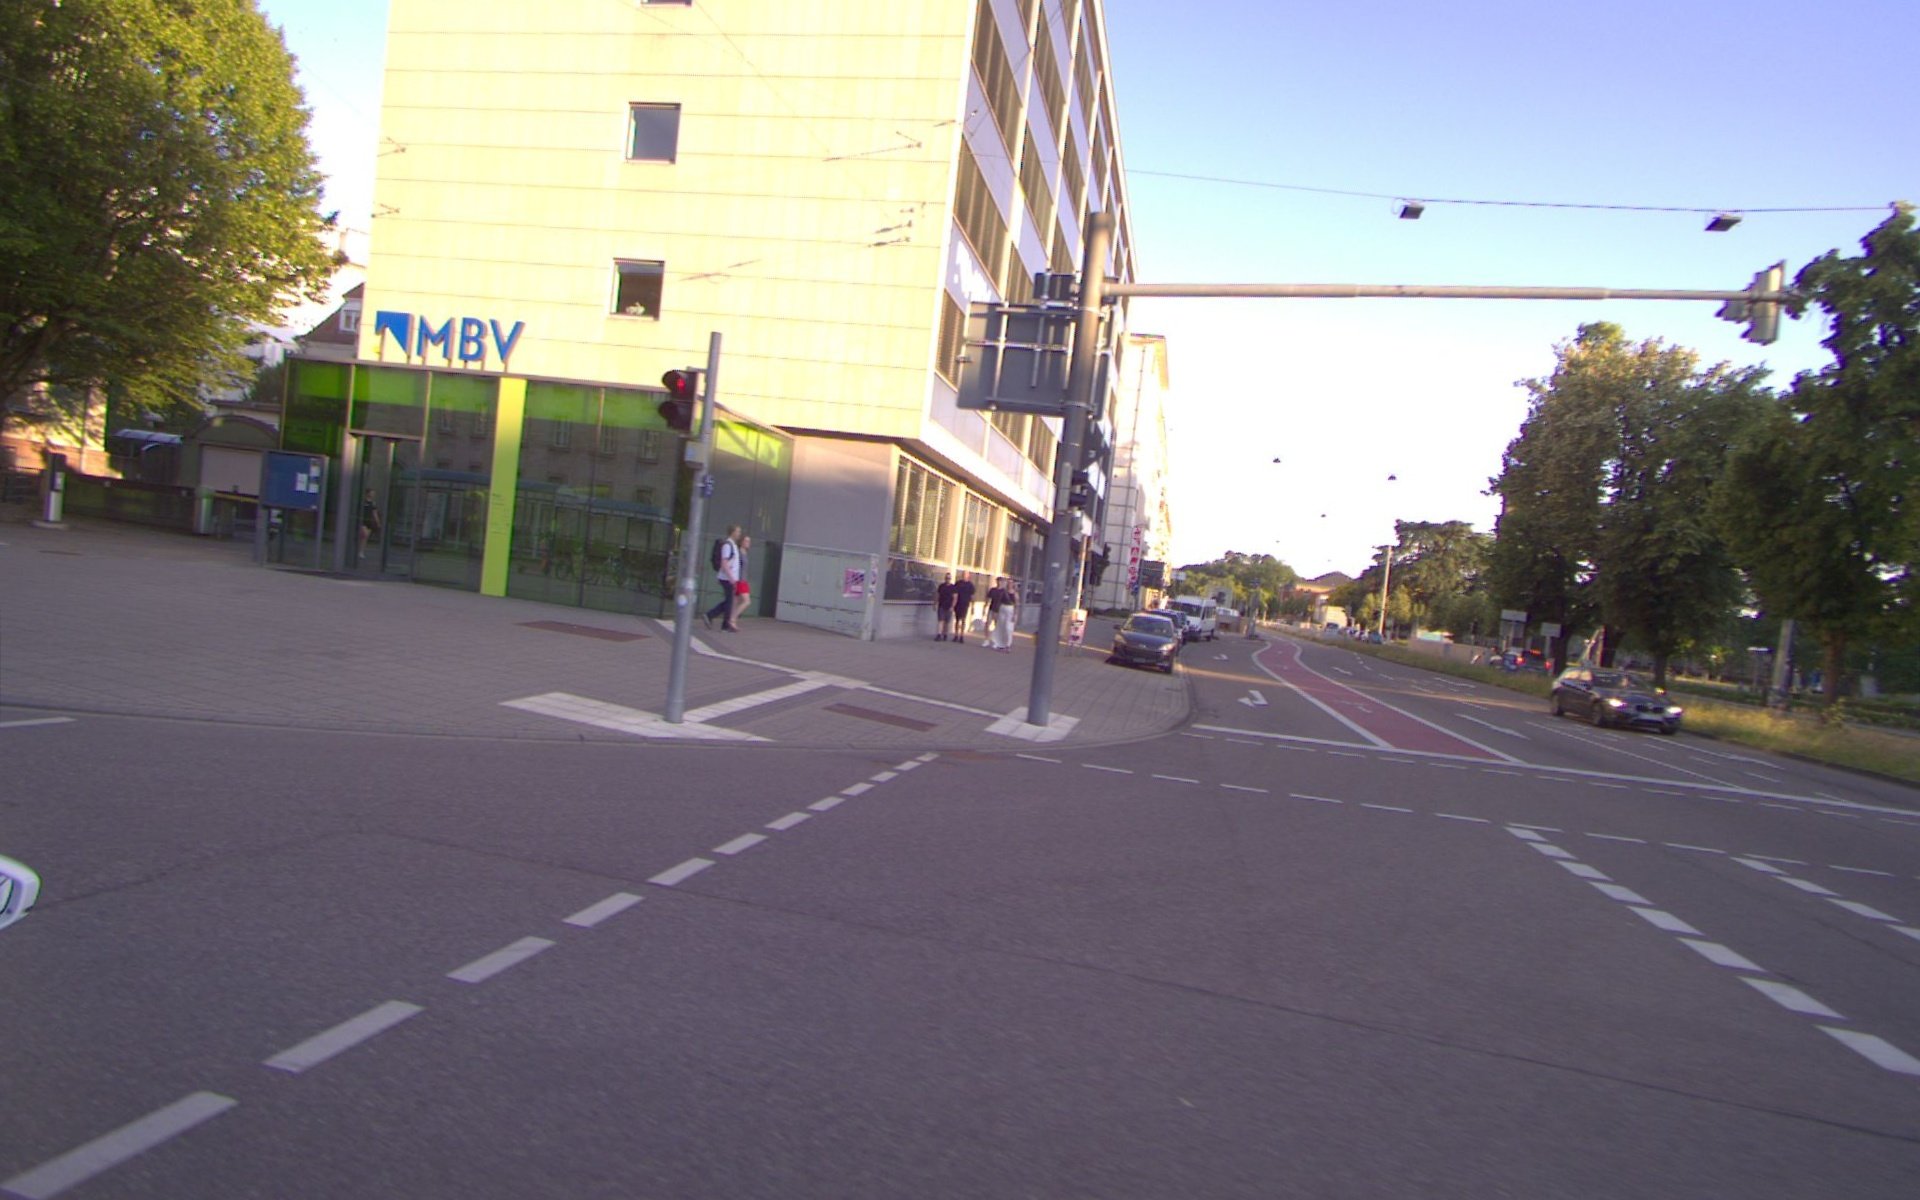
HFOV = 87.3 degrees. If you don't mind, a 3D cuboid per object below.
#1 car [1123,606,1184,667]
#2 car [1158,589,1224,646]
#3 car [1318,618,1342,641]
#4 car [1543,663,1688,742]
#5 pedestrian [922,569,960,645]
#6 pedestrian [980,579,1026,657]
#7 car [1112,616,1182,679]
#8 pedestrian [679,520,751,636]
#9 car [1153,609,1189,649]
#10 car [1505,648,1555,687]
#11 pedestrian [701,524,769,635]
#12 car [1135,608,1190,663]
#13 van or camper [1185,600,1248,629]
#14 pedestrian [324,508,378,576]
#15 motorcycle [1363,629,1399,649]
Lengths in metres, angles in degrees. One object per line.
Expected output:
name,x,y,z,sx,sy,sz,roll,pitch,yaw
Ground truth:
car,6.679,1.215,34.553,1.667,1.685,3.868,11,2,12
car,13.232,1.055,57.245,2.204,2.661,5.849,14,3,22
car,41.621,3.279,113.341,1.854,2.267,3.909,7,1,14
car,16.747,2.549,25.951,1.666,1.439,4.172,7,1,14
pedestrian,-0.469,0.166,24.801,0.642,1.791,0.646,7,2,8
pedestrian,1.059,0.431,24.512,0.827,1.791,0.785,7,2,8
car,5.365,1.279,28.715,1.666,1.429,3.868,8,1,12
pedestrian,-4.007,-0.352,16.487,0.721,1.791,0.708,7,2,13
car,10.742,1.437,51.207,1.476,1.685,3.868,11,2,12
car,29.865,3.511,52.801,1.668,1.625,4.086,12,2,24
pedestrian,-3.834,-0.338,17.194,0.732,1.791,0.708,7,2,13
car,7.710,1.289,38.226,1.667,1.685,3.868,11,2,12
van or camper,25.043,1.414,98.237,5.442,2.195,2.235,5,1,-18
pedestrian,-11.931,-1.132,19.717,0.604,1.224,0.543,7,2,13
motorcycle,46.967,4.358,112.158,3.432,1.778,0.925,7,2,15
